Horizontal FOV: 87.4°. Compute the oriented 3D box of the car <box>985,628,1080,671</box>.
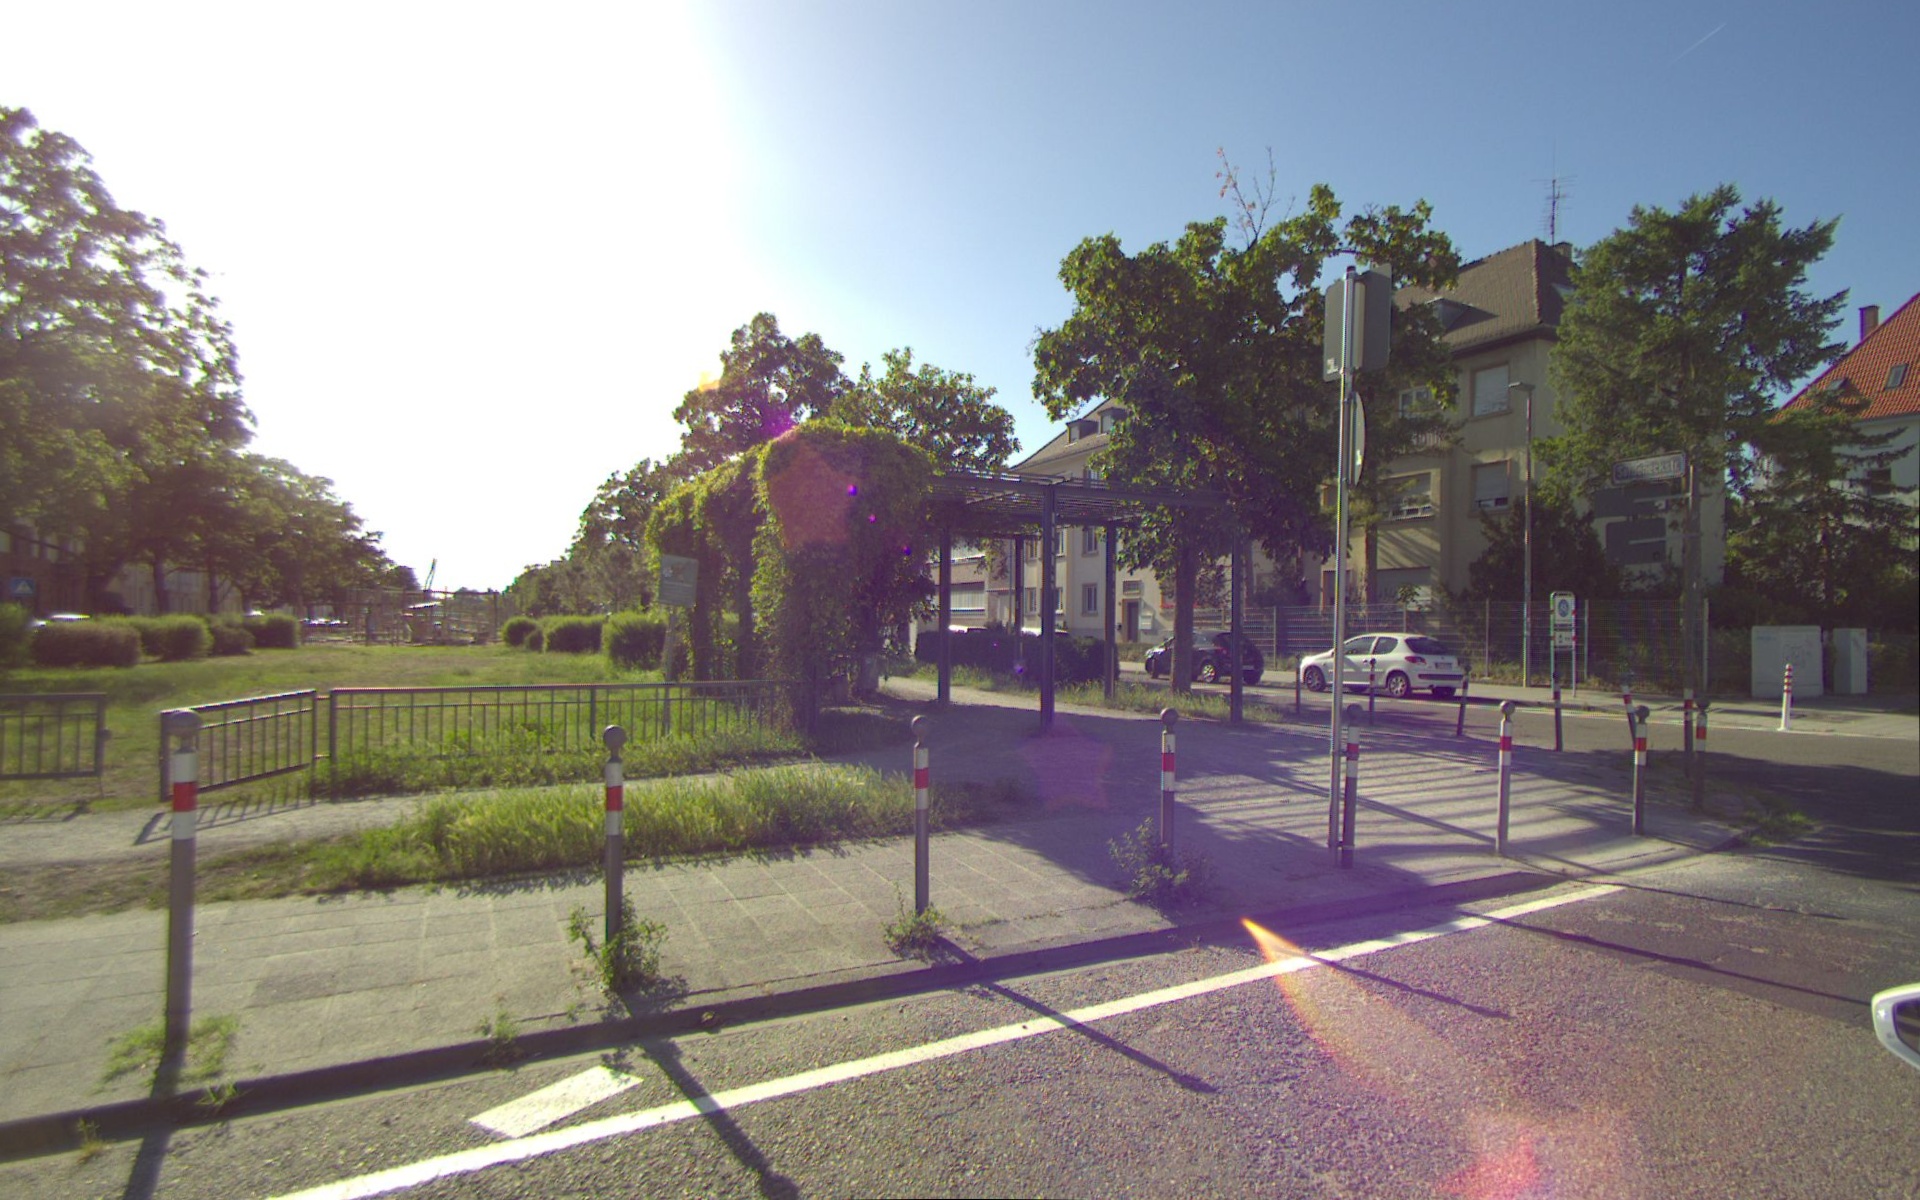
[{"bbox_3d":[2.668,1.834,37.737,1.778,1.514,3.974,2,-2,-26],"label":"car"}]

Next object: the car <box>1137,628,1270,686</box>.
[{"bbox_3d":[6.851,1.573,28.622,1.655,1.514,3.801,2,-2,-26],"label":"car"}]

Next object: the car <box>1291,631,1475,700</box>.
[{"bbox_3d":[9.699,1.472,23.317,1.685,1.416,3.751,2,-2,-27],"label":"car"}]
